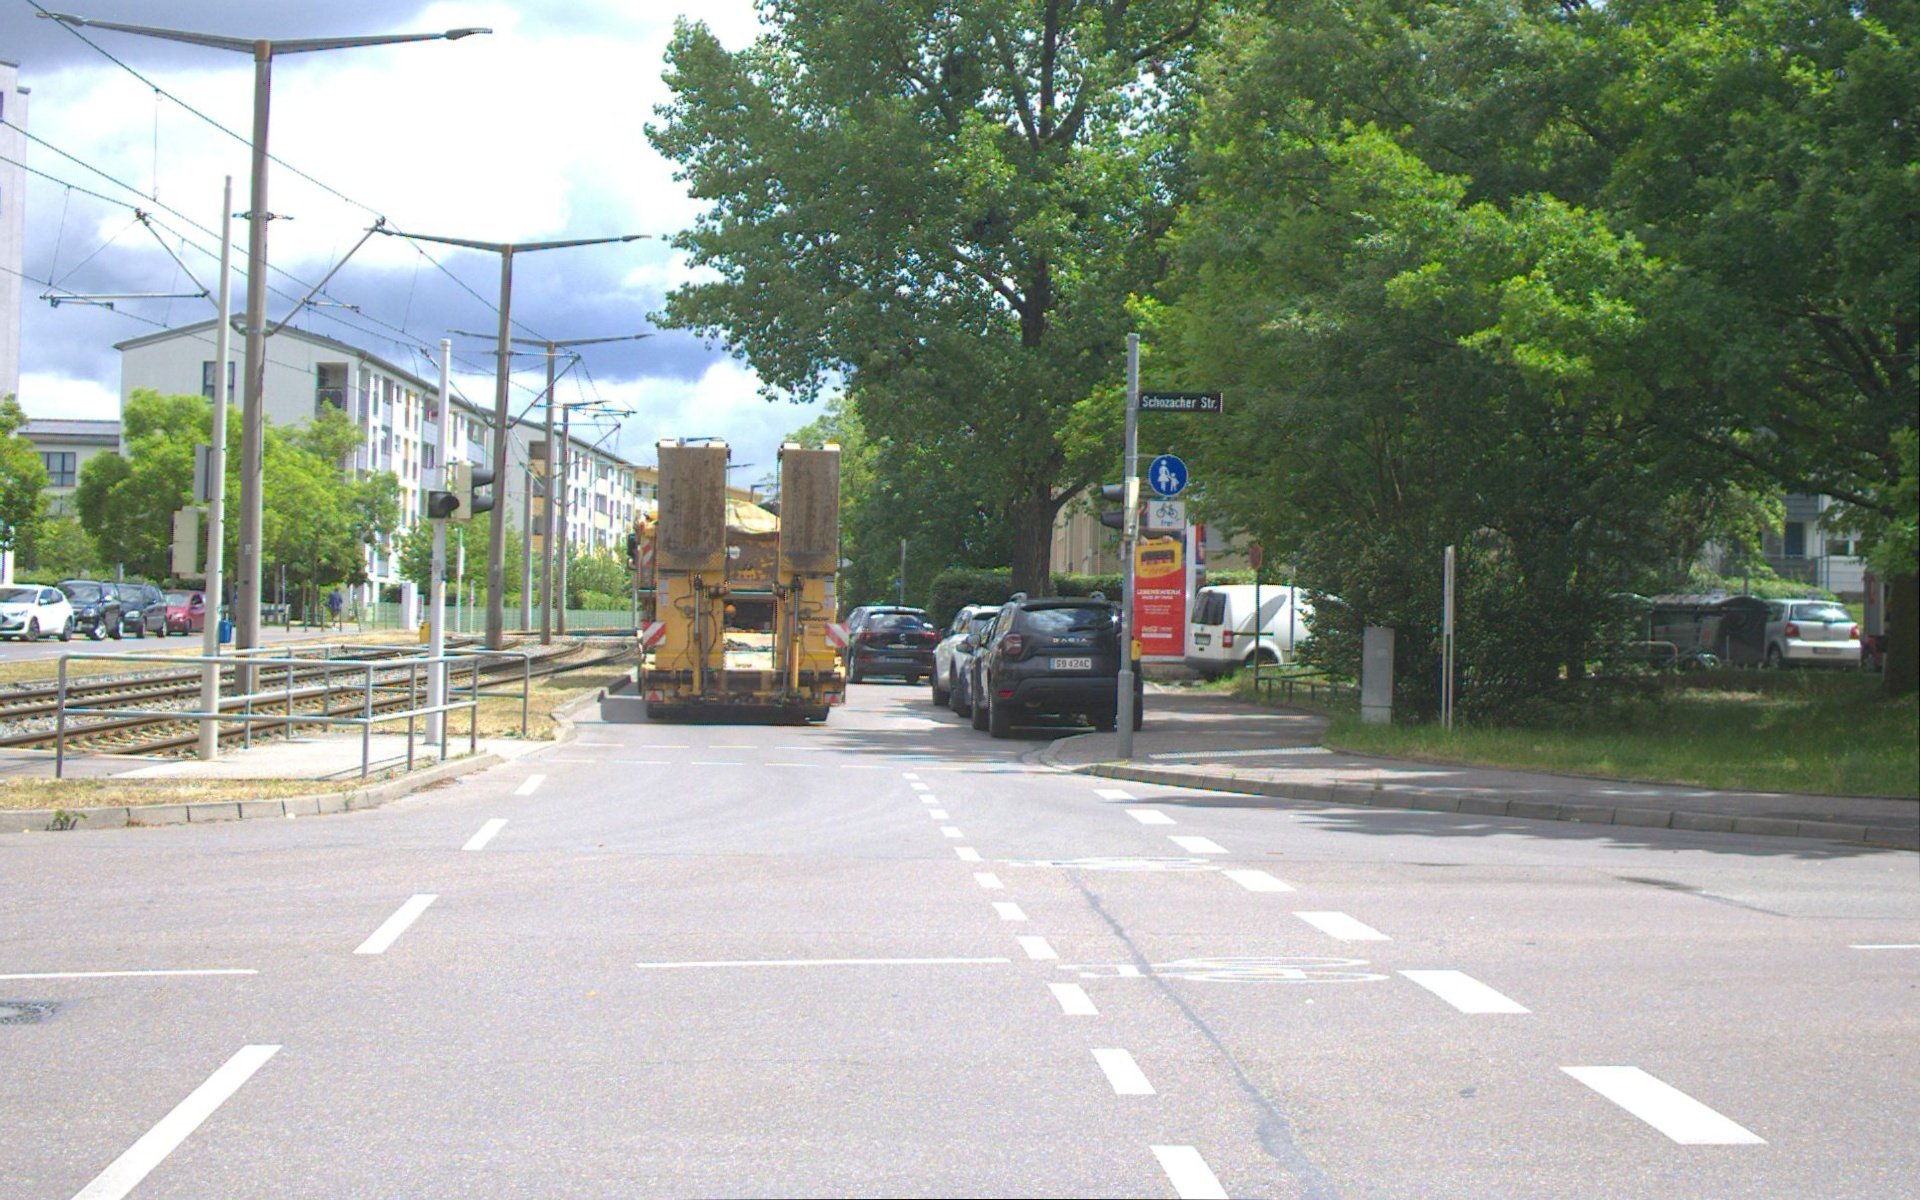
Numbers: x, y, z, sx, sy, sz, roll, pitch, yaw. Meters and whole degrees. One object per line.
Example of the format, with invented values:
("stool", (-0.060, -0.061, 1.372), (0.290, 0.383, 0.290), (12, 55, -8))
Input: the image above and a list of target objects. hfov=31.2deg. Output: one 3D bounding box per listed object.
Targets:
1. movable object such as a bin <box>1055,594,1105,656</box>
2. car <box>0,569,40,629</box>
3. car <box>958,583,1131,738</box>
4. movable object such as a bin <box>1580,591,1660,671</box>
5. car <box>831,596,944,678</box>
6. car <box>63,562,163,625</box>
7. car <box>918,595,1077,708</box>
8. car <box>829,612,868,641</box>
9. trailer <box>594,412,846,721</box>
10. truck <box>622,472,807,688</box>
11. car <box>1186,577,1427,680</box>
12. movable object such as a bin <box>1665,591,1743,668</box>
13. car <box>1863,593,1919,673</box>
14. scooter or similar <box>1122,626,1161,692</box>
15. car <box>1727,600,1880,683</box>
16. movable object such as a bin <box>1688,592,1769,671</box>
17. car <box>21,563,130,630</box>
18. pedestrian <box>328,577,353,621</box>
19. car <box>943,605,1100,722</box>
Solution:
("movable object such as a bin", (2.840, 0.589, 81.345), (1.098, 1.434, 0.761), (0, 0, -4))
("car", (-24.611, -0.033, 86.063), (1.754, 1.470, 4.399), (0, 1, 4))
("car", (0.972, 0.693, 41.994), (1.643, 1.756, 4.570), (0, 1, -4))
("movable object such as a bin", (12.041, 0.557, 62.753), (1.115, 1.425, 1.286), (0, 1, -4))
("car", (-1.377, 0.666, 64.263), (1.815, 1.444, 3.827), (0, 1, -6))
("car", (-23.612, -0.196, 95.974), (1.993, 1.657, 4.100), (2, 1, -4))
("car", (0.511, 0.727, 51.233), (1.783, 1.560, 4.571), (0, 1, -7))
("car", (-5.760, 1.371, 178.049), (1.993, 1.382, 4.000), (0, 1, -2))
("trailer", (-3.336, -0.474, 47.913), (3.050, 3.760, 11.614), (0, 1, -4))
("truck", (-4.067, -0.348, 57.194), (2.833, 3.319, 7.985), (0, 1, -4))
("car", (6.305, 0.501, 62.556), (3.986, 1.816, 1.811), (0, 1, -25))
("movable object such as a bin", (14.040, 0.547, 64.888), (1.115, 1.425, 1.286), (0, 1, -4))
("car", (18.599, 0.609, 65.481), (1.743, 1.438, 4.000), (1, 1, 0))
("scooter or similar", (2.995, 0.971, 56.720), (0.476, 1.051, 0.897), (0, 1, -8))
("car", (16.176, 0.778, 66.131), (1.940, 1.485, 4.000), (1, 1, 0))
("movable object such as a bin", (14.169, 0.566, 63.432), (1.115, 1.425, 1.286), (0, 1, -4))
("car", (-23.258, -0.108, 90.519), (1.993, 1.657, 4.100), (2, 1, -4))
("pedestrian", (-23.332, -0.044, 129.570), (0.749, 1.656, 0.869), (0, 0, 2))
("car", (0.791, 0.828, 46.492), (1.643, 1.453, 4.077), (0, 1, -6))
